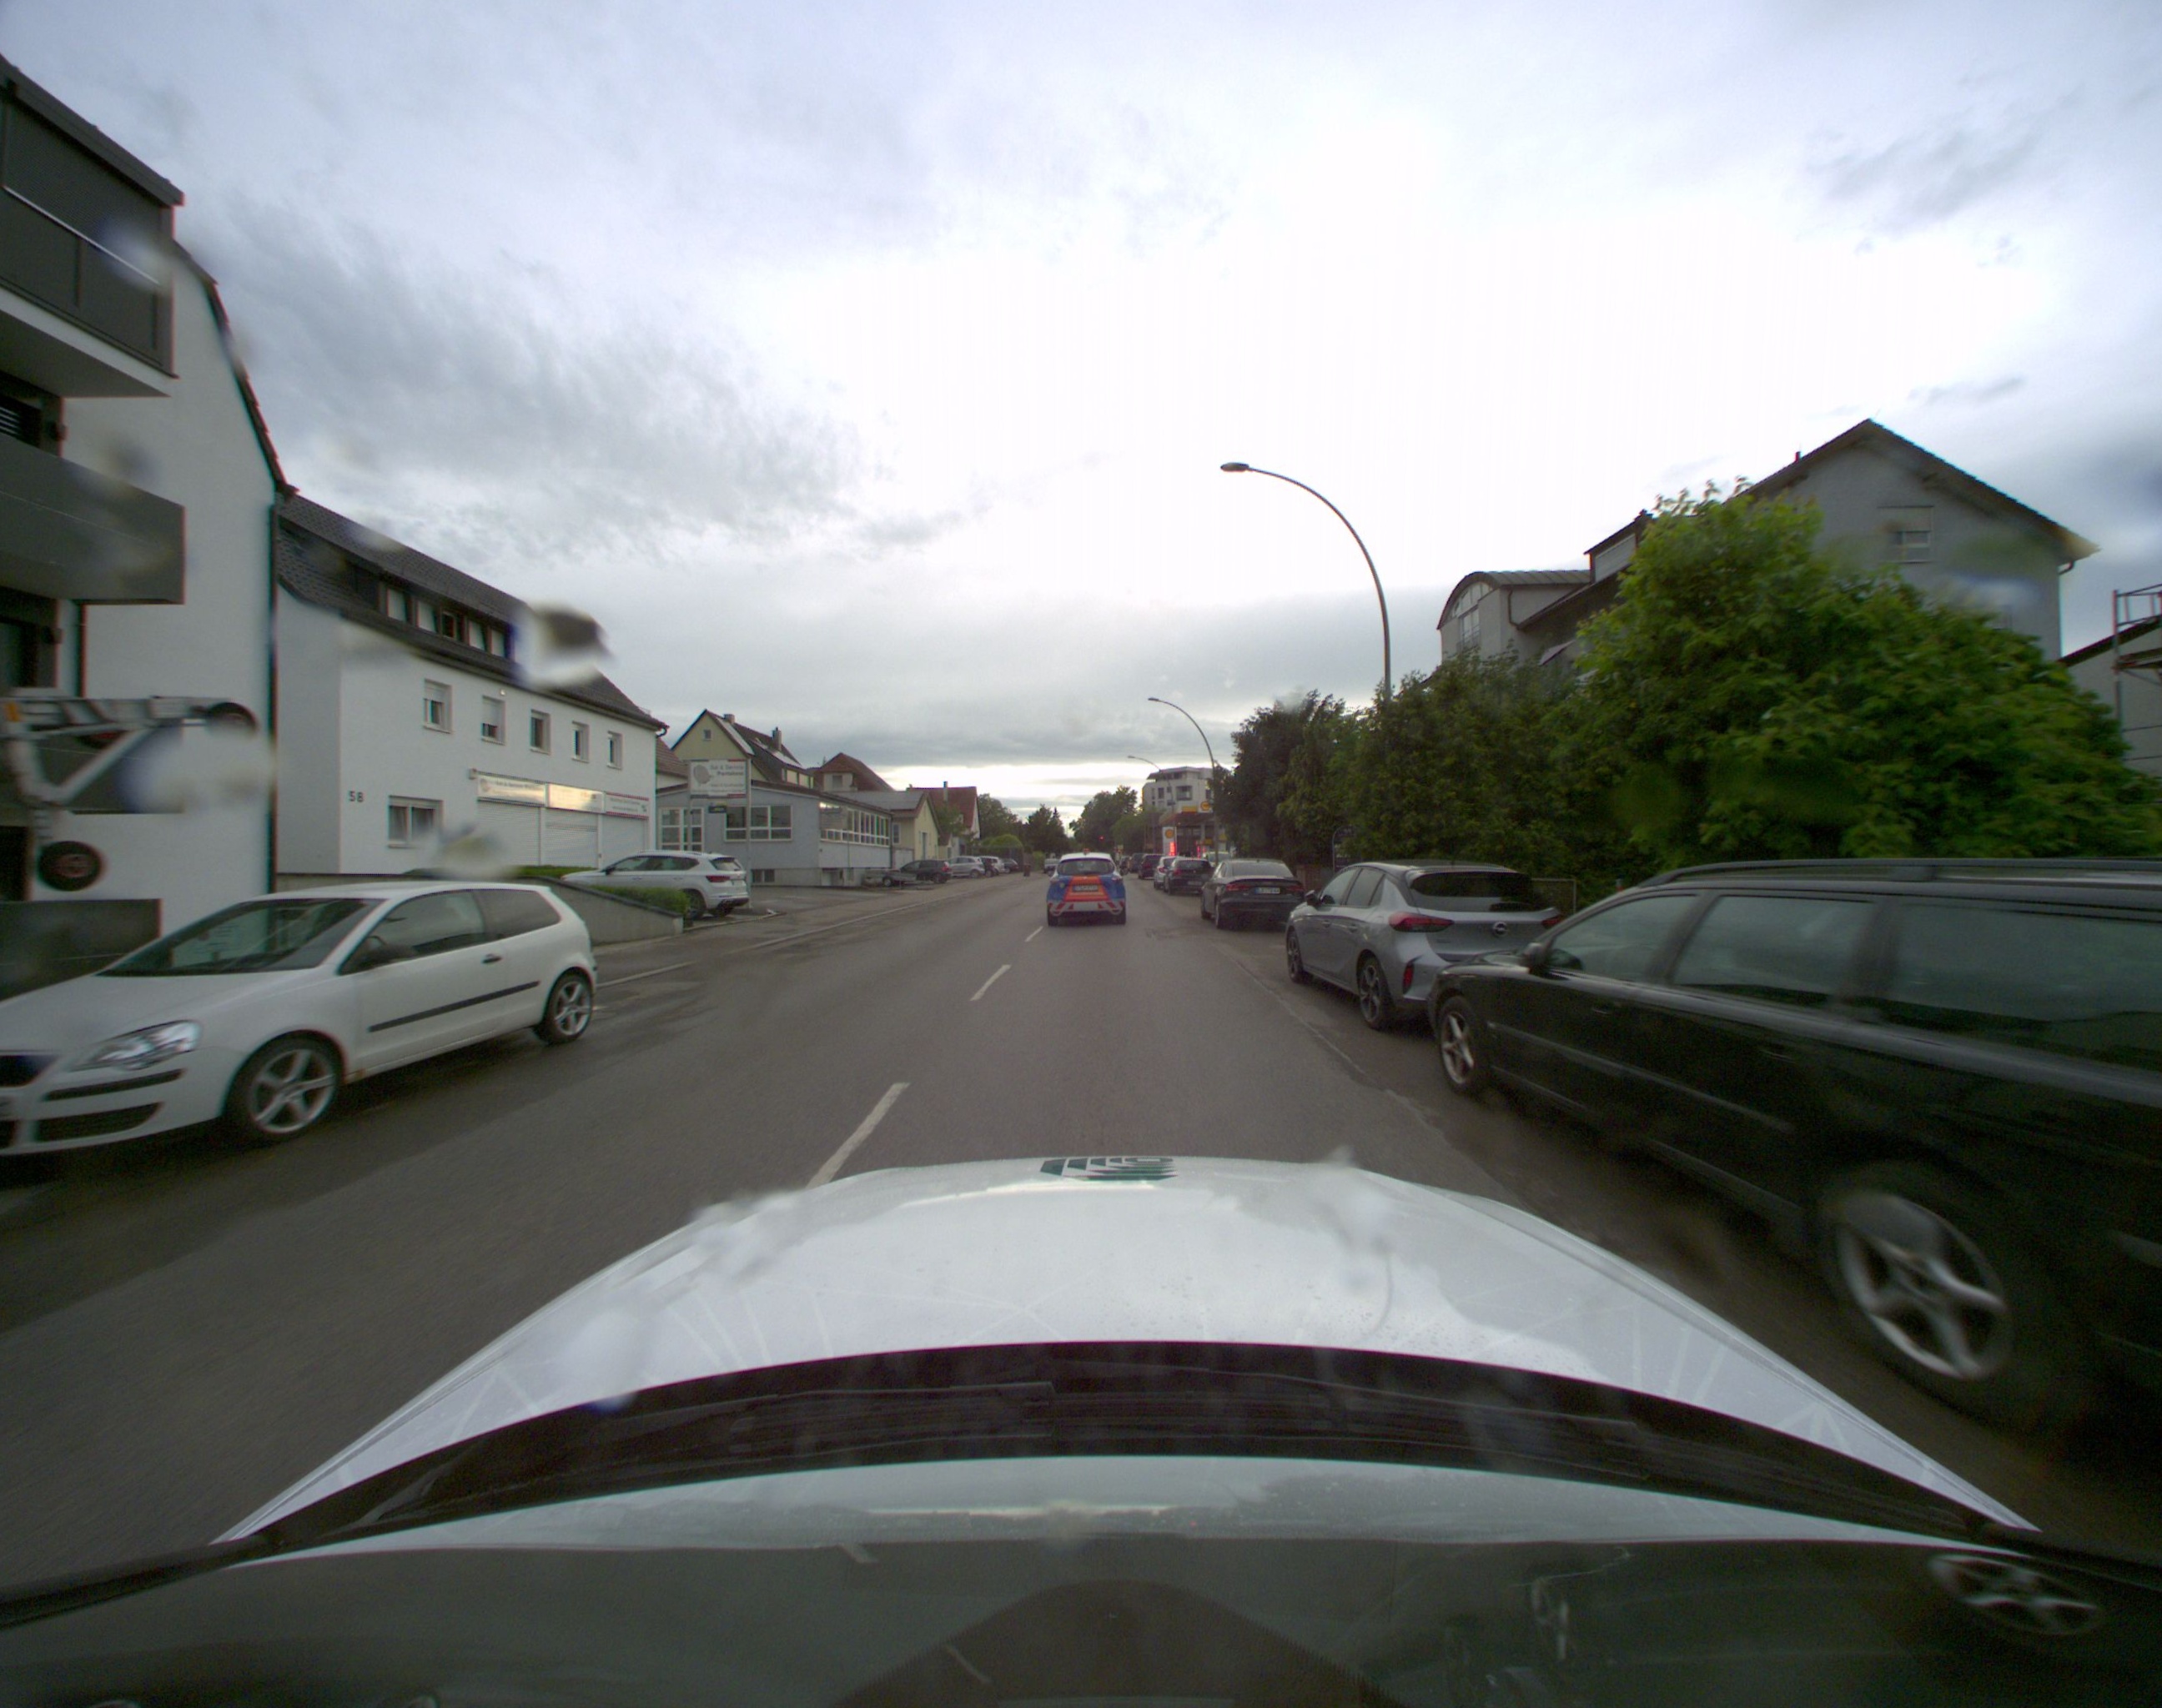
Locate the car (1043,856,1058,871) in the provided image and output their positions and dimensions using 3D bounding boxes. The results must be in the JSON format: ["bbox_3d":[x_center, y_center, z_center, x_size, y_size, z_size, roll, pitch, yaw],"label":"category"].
[{"bbox_3d":[-3.191,0.936,84.642,1.382,1.483,3.783,-1,0,0],"label":"car"}]

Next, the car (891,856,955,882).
[{"bbox_3d":[-9.456,0.876,48.956,3.572,1.526,1.654,0,0,-3],"label":"car"}]

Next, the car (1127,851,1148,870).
[{"bbox_3d":[5.103,0.573,73.842,1.644,1.671,3.999,0,0,0],"label":"car"}]

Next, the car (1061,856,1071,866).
[{"bbox_3d":[-1.853,0.892,102.990,1.147,1.232,3.372,-1,0,0],"label":"car"}]

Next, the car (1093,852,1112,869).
[{"bbox_3d":[1.920,0.587,75.177,1.644,1.521,3.999,0,0,0],"label":"car"}]

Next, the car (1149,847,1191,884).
[{"bbox_3d":[3.880,0.510,35.986,1.476,1.555,3.861,1,-1,0],"label":"car"}]

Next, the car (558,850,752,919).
[{"bbox_3d":[-10.175,0.697,19.650,3.747,1.568,1.655,0,0,0],"label":"car"}]

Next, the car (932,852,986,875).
[{"bbox_3d":[-8.900,0.690,59.537,3.750,1.576,1.654,0,0,-3],"label":"car"}]

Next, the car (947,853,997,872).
[{"bbox_3d":[-8.536,0.671,63.896,3.750,1.483,1.654,0,0,-3],"label":"car"}]

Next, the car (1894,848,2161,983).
[{"bbox_3d":[11.947,0.650,9.156,1.549,1.399,3.907,-1,1,-43],"label":"car"}]

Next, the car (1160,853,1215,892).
[{"bbox_3d":[4.000,0.658,31.112,1.644,1.335,4.002,-1,0,1],"label":"car"}]

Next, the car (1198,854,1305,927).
[{"bbox_3d":[3.507,0.695,17.405,1.599,1.374,4.089,0,0,2],"label":"car"}]

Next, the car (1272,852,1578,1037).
[{"bbox_3d":[3.150,0.711,8.287,1.534,1.429,3.750,0,0,0],"label":"car"}]

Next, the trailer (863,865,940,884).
[{"bbox_3d":[-10.211,1.149,46.500,4.009,0.995,1.655,0,0,0],"label":"trailer"}]

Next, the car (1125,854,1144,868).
[{"bbox_3d":[5.527,0.719,84.661,1.644,1.483,3.999,0,0,0],"label":"car"}]

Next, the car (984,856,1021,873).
[{"bbox_3d":[-7.262,0.959,75.788,3.274,1.448,1.478,-2,0,-3],"label":"car"}]

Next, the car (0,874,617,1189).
[{"bbox_3d":[-5.381,0.909,5.967,1.551,1.433,4.002,0,0,2],"label":"car"}]

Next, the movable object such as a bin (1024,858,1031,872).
[{"bbox_3d":[-4.613,0.946,69.784,0.577,1.204,0.319,0,0,1],"label":"movable object such as a bin"}]

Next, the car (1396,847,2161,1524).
[{"bbox_3d":[3.137,0.716,3.616,1.706,1.438,4.525,0,0,-1],"label":"car"}]

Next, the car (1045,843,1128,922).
[{"bbox_3d":[0.148,0.598,18.760,1.725,1.631,3.495,-1,0,1],"label":"car"}]

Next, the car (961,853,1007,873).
[{"bbox_3d":[-8.051,0.757,67.784,3.645,1.483,1.478,-2,0,-3],"label":"car"}]

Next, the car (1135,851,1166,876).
[{"bbox_3d":[4.405,0.586,52.071,1.644,1.521,3.999,0,0,0],"label":"car"}]

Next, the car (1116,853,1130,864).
[{"bbox_3d":[5.465,0.592,105.788,1.644,1.483,3.999,0,0,0],"label":"car"}]

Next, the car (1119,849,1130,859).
[{"bbox_3d":[7.098,0.011,133.128,1.644,1.653,3.999,0,0,0],"label":"car"}]
